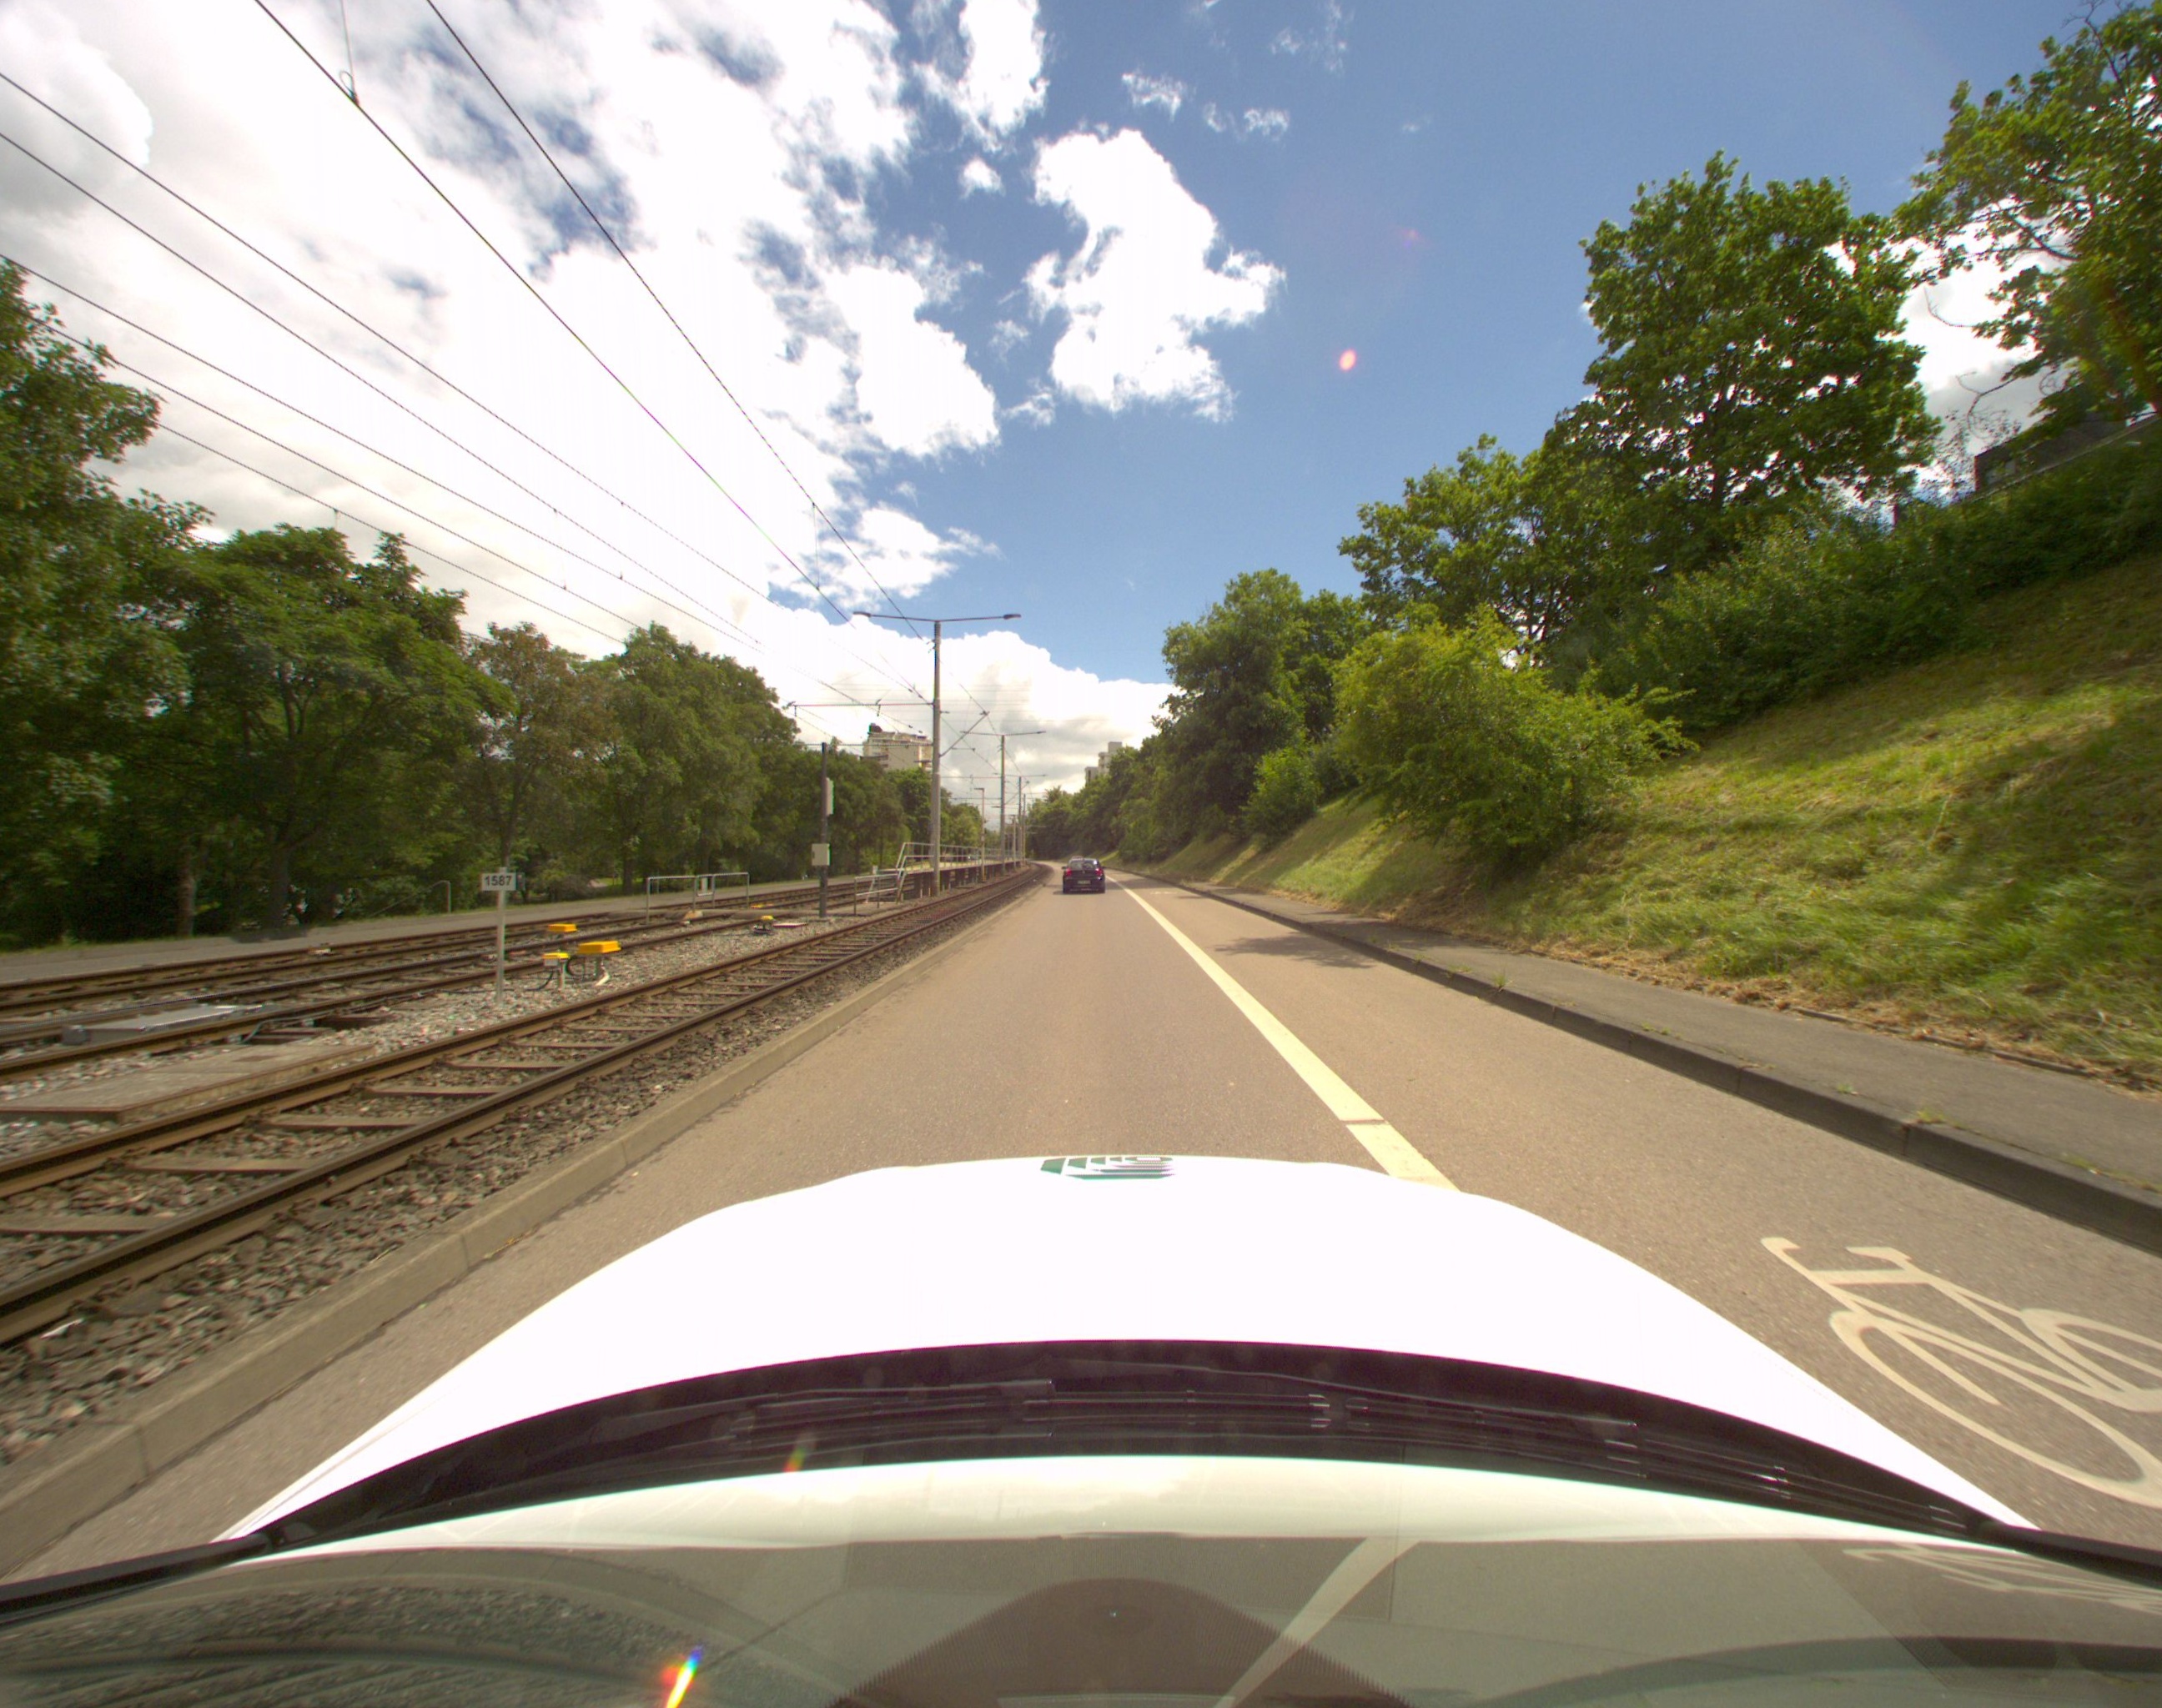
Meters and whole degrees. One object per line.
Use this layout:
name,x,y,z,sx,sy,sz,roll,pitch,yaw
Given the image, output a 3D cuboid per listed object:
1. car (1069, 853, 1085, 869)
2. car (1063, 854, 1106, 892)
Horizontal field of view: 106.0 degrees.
car,-0.421,0.690,85.745,1.618,1.443,3.423,1,3,1
car,0.172,0.780,34.142,1.702,1.460,3.960,1,-1,1
